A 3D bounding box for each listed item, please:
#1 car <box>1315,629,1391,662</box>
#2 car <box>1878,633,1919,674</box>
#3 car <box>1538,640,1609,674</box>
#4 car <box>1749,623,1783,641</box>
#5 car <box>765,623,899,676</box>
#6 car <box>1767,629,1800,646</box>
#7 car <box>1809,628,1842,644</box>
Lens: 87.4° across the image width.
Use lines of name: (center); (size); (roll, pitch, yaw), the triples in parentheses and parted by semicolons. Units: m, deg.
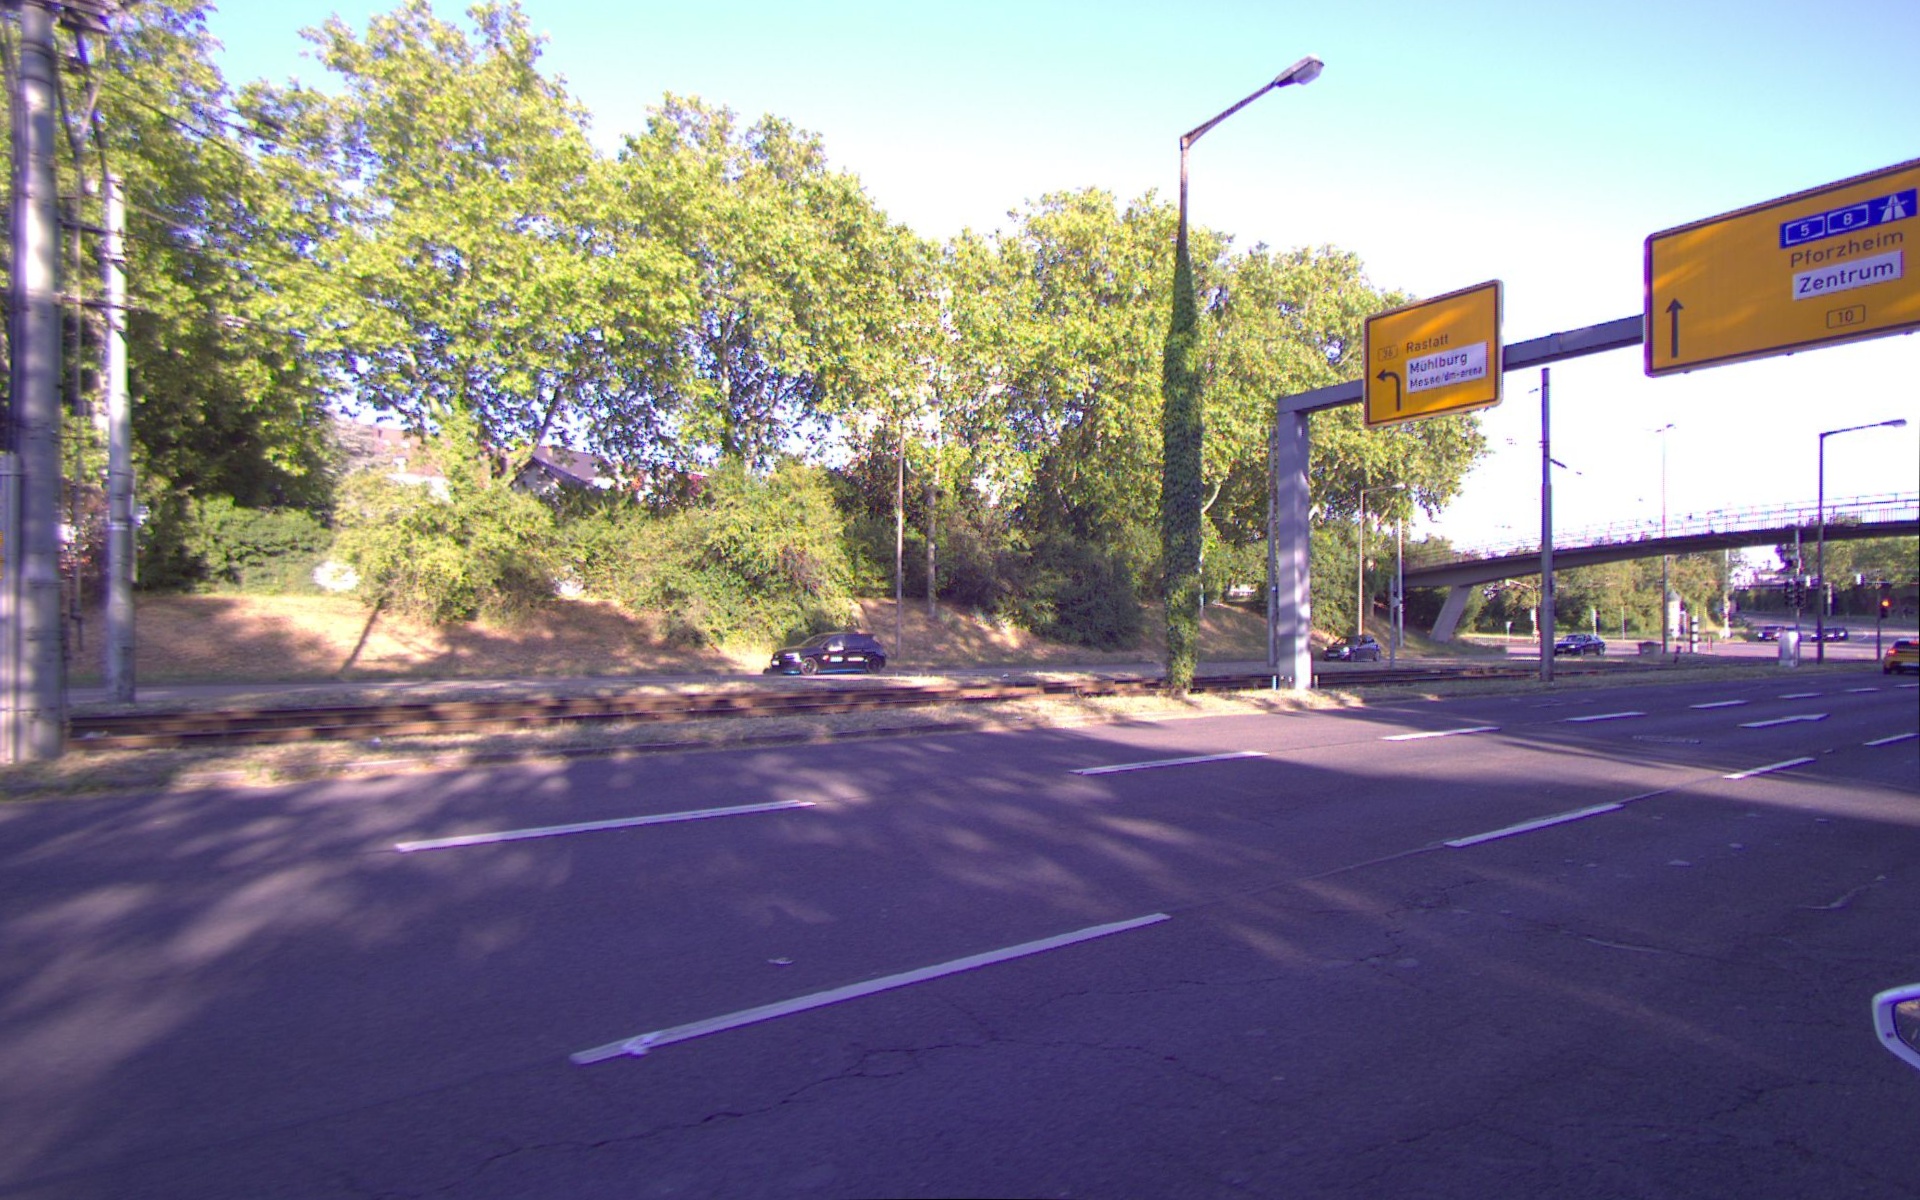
car: (21.324, 2.460, 54.490); (4.152, 1.703, 1.979); (2, -3, -37)
car: (38.832, 2.142, 40.724); (3.962, 1.586, 1.651); (1, -3, -37)
car: (39.087, 3.621, 63.988); (4.459, 2.040, 1.911); (1, -3, -30)
car: (82.954, 3.274, 103.377); (3.964, 1.795, 1.864); (1, 0, -38)
car: (-4.373, 1.691, 34.436); (4.150, 1.703, 1.980); (2, -3, -36)
car: (88.921, 4.055, 108.439); (3.964, 1.795, 1.864); (1, 0, -38)
car: (87.719, 3.647, 101.814); (3.642, 1.596, 1.864); (1, 0, -38)
